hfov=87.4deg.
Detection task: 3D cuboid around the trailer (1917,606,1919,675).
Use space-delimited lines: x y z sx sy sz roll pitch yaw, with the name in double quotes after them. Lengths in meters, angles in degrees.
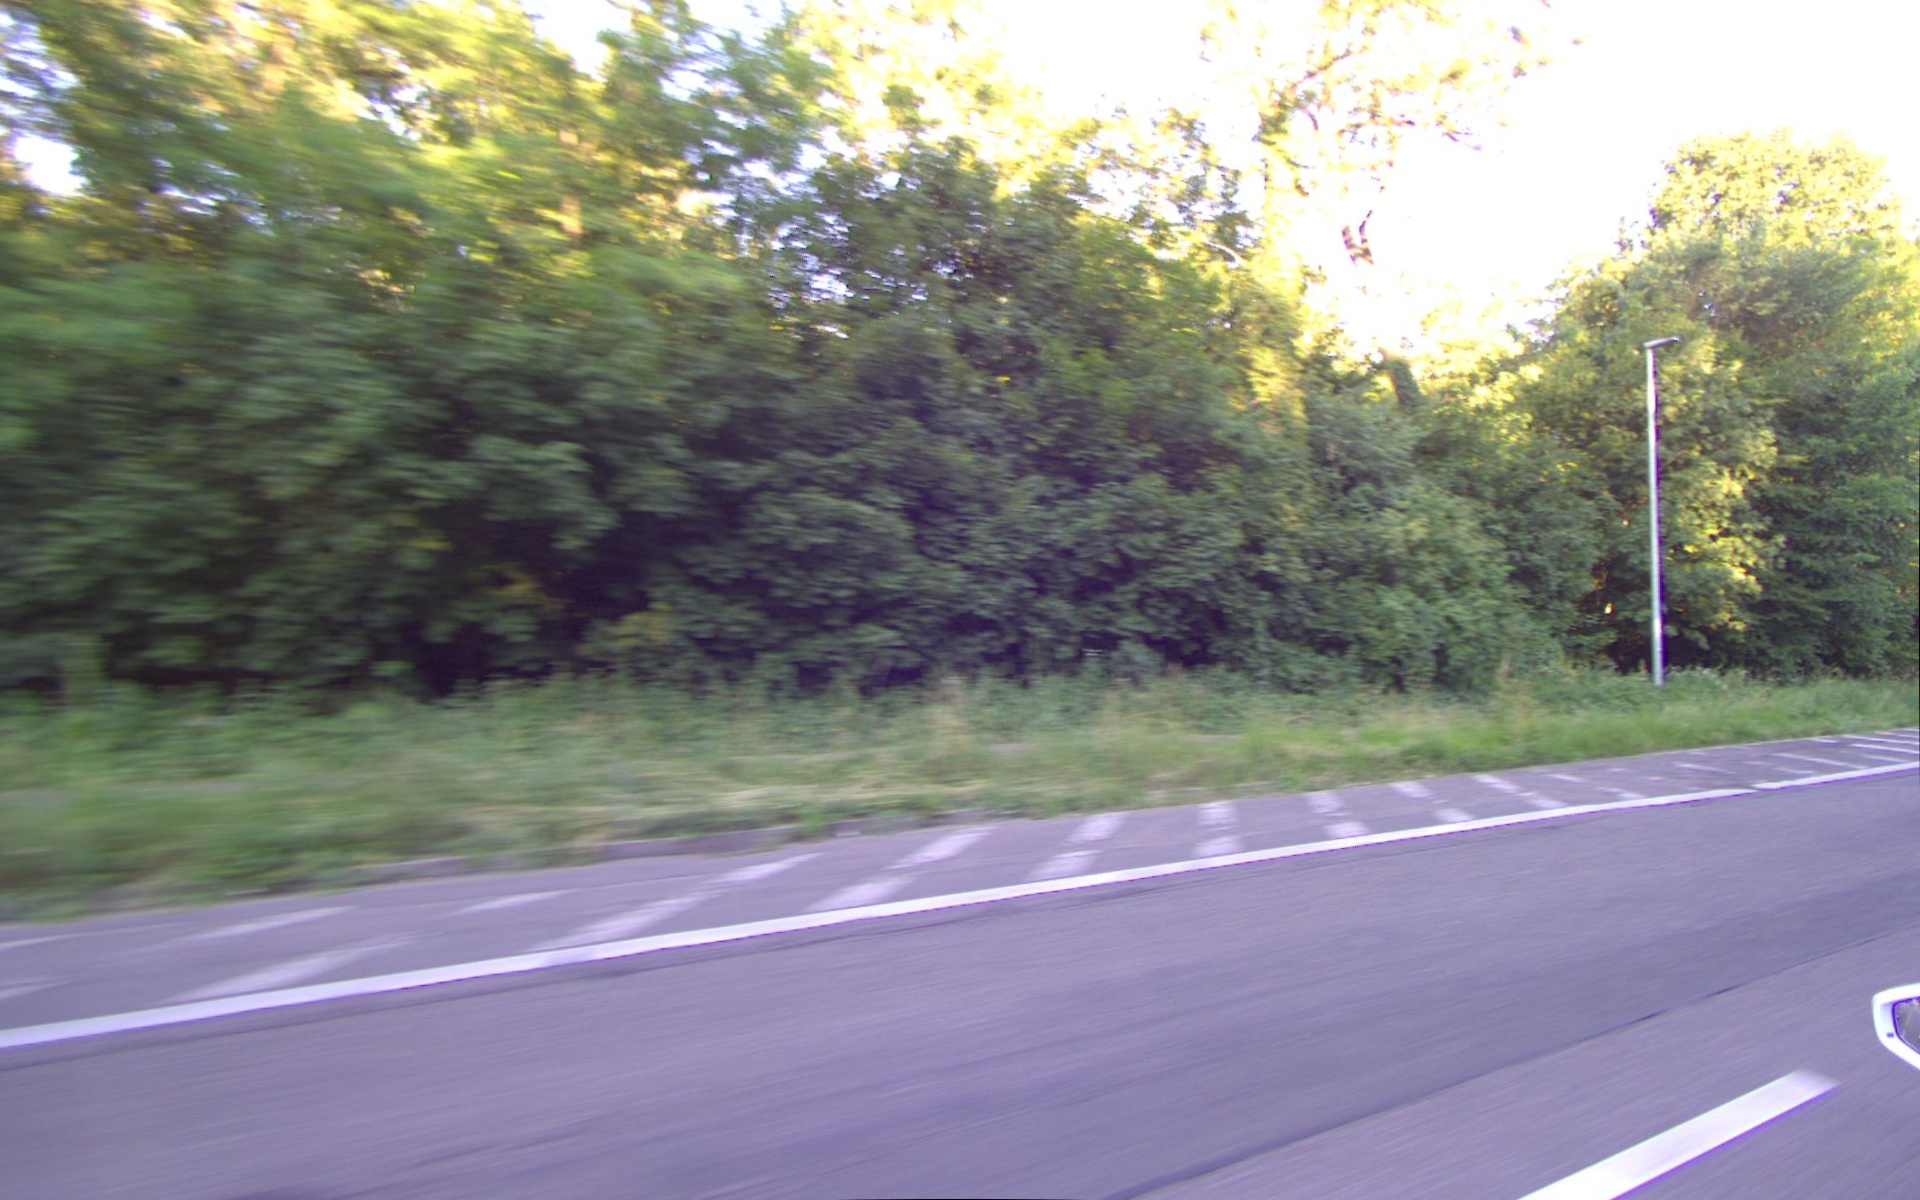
20.954 1.228 19.901 4.095 2.196 1.809 1 -3 -31 "trailer"
